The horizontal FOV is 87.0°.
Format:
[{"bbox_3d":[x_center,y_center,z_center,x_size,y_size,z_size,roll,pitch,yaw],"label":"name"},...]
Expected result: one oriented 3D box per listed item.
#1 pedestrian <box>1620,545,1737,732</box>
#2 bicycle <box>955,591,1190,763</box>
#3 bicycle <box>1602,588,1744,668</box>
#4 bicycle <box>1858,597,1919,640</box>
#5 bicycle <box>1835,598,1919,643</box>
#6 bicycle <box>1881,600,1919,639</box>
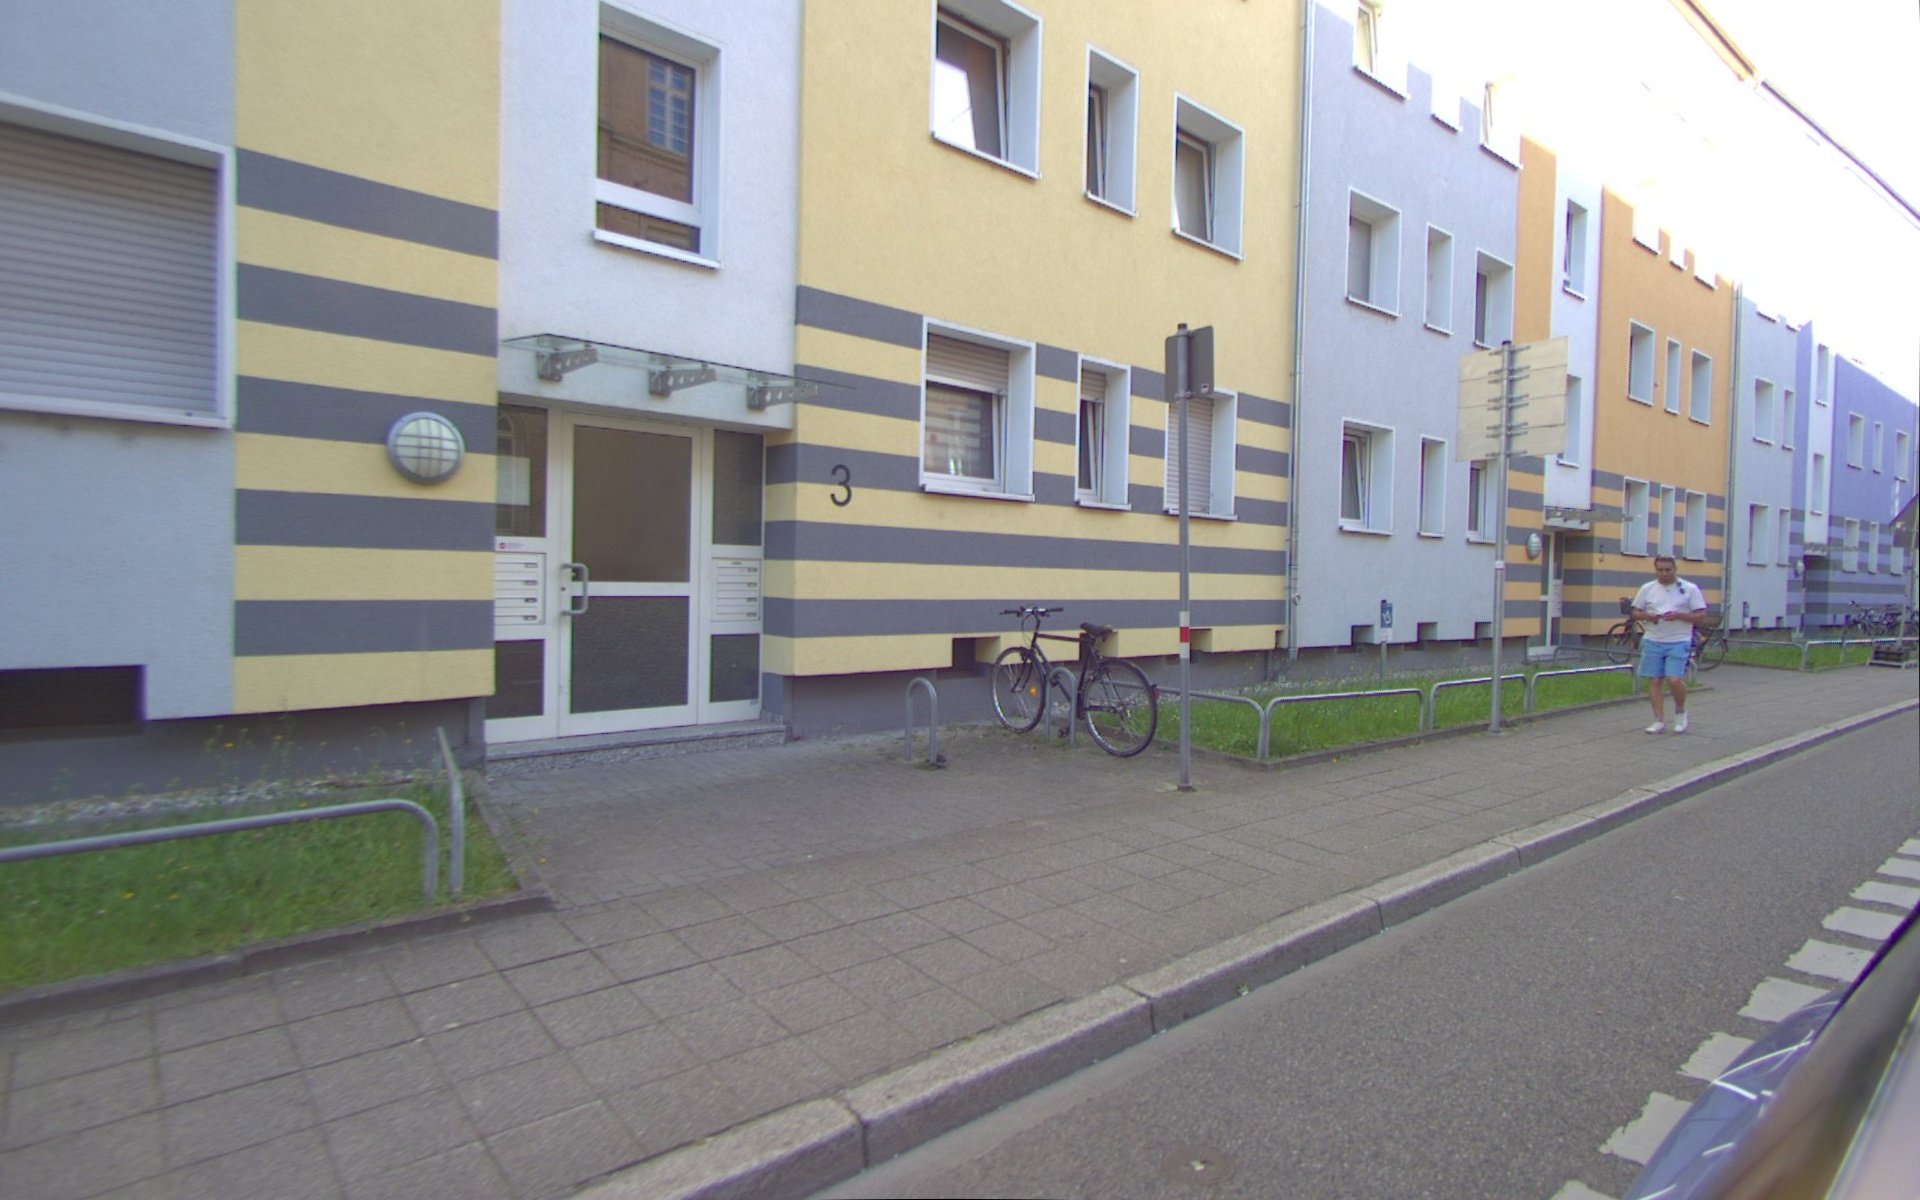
[{"bbox_3d":[6.862,0.338,9.669,0.819,1.692,0.644,0,2,-38],"label":"pedestrian"},{"bbox_3d":[0.803,0.517,7.690,0.574,1.061,1.773,-1,4,-45],"label":"bicycle"},{"bbox_3d":[11.679,0.433,16.632,0.573,1.138,1.775,-1,4,-41],"label":"bicycle"},{"bbox_3d":[24.410,0.496,26.068,0.572,1.007,1.779,0,4,-33],"label":"bicycle"},{"bbox_3d":[23.242,0.501,25.407,0.572,1.007,1.779,0,4,-33],"label":"bicycle"},{"bbox_3d":[25.113,0.548,26.171,0.572,0.950,1.779,0,4,-33],"label":"bicycle"}]
